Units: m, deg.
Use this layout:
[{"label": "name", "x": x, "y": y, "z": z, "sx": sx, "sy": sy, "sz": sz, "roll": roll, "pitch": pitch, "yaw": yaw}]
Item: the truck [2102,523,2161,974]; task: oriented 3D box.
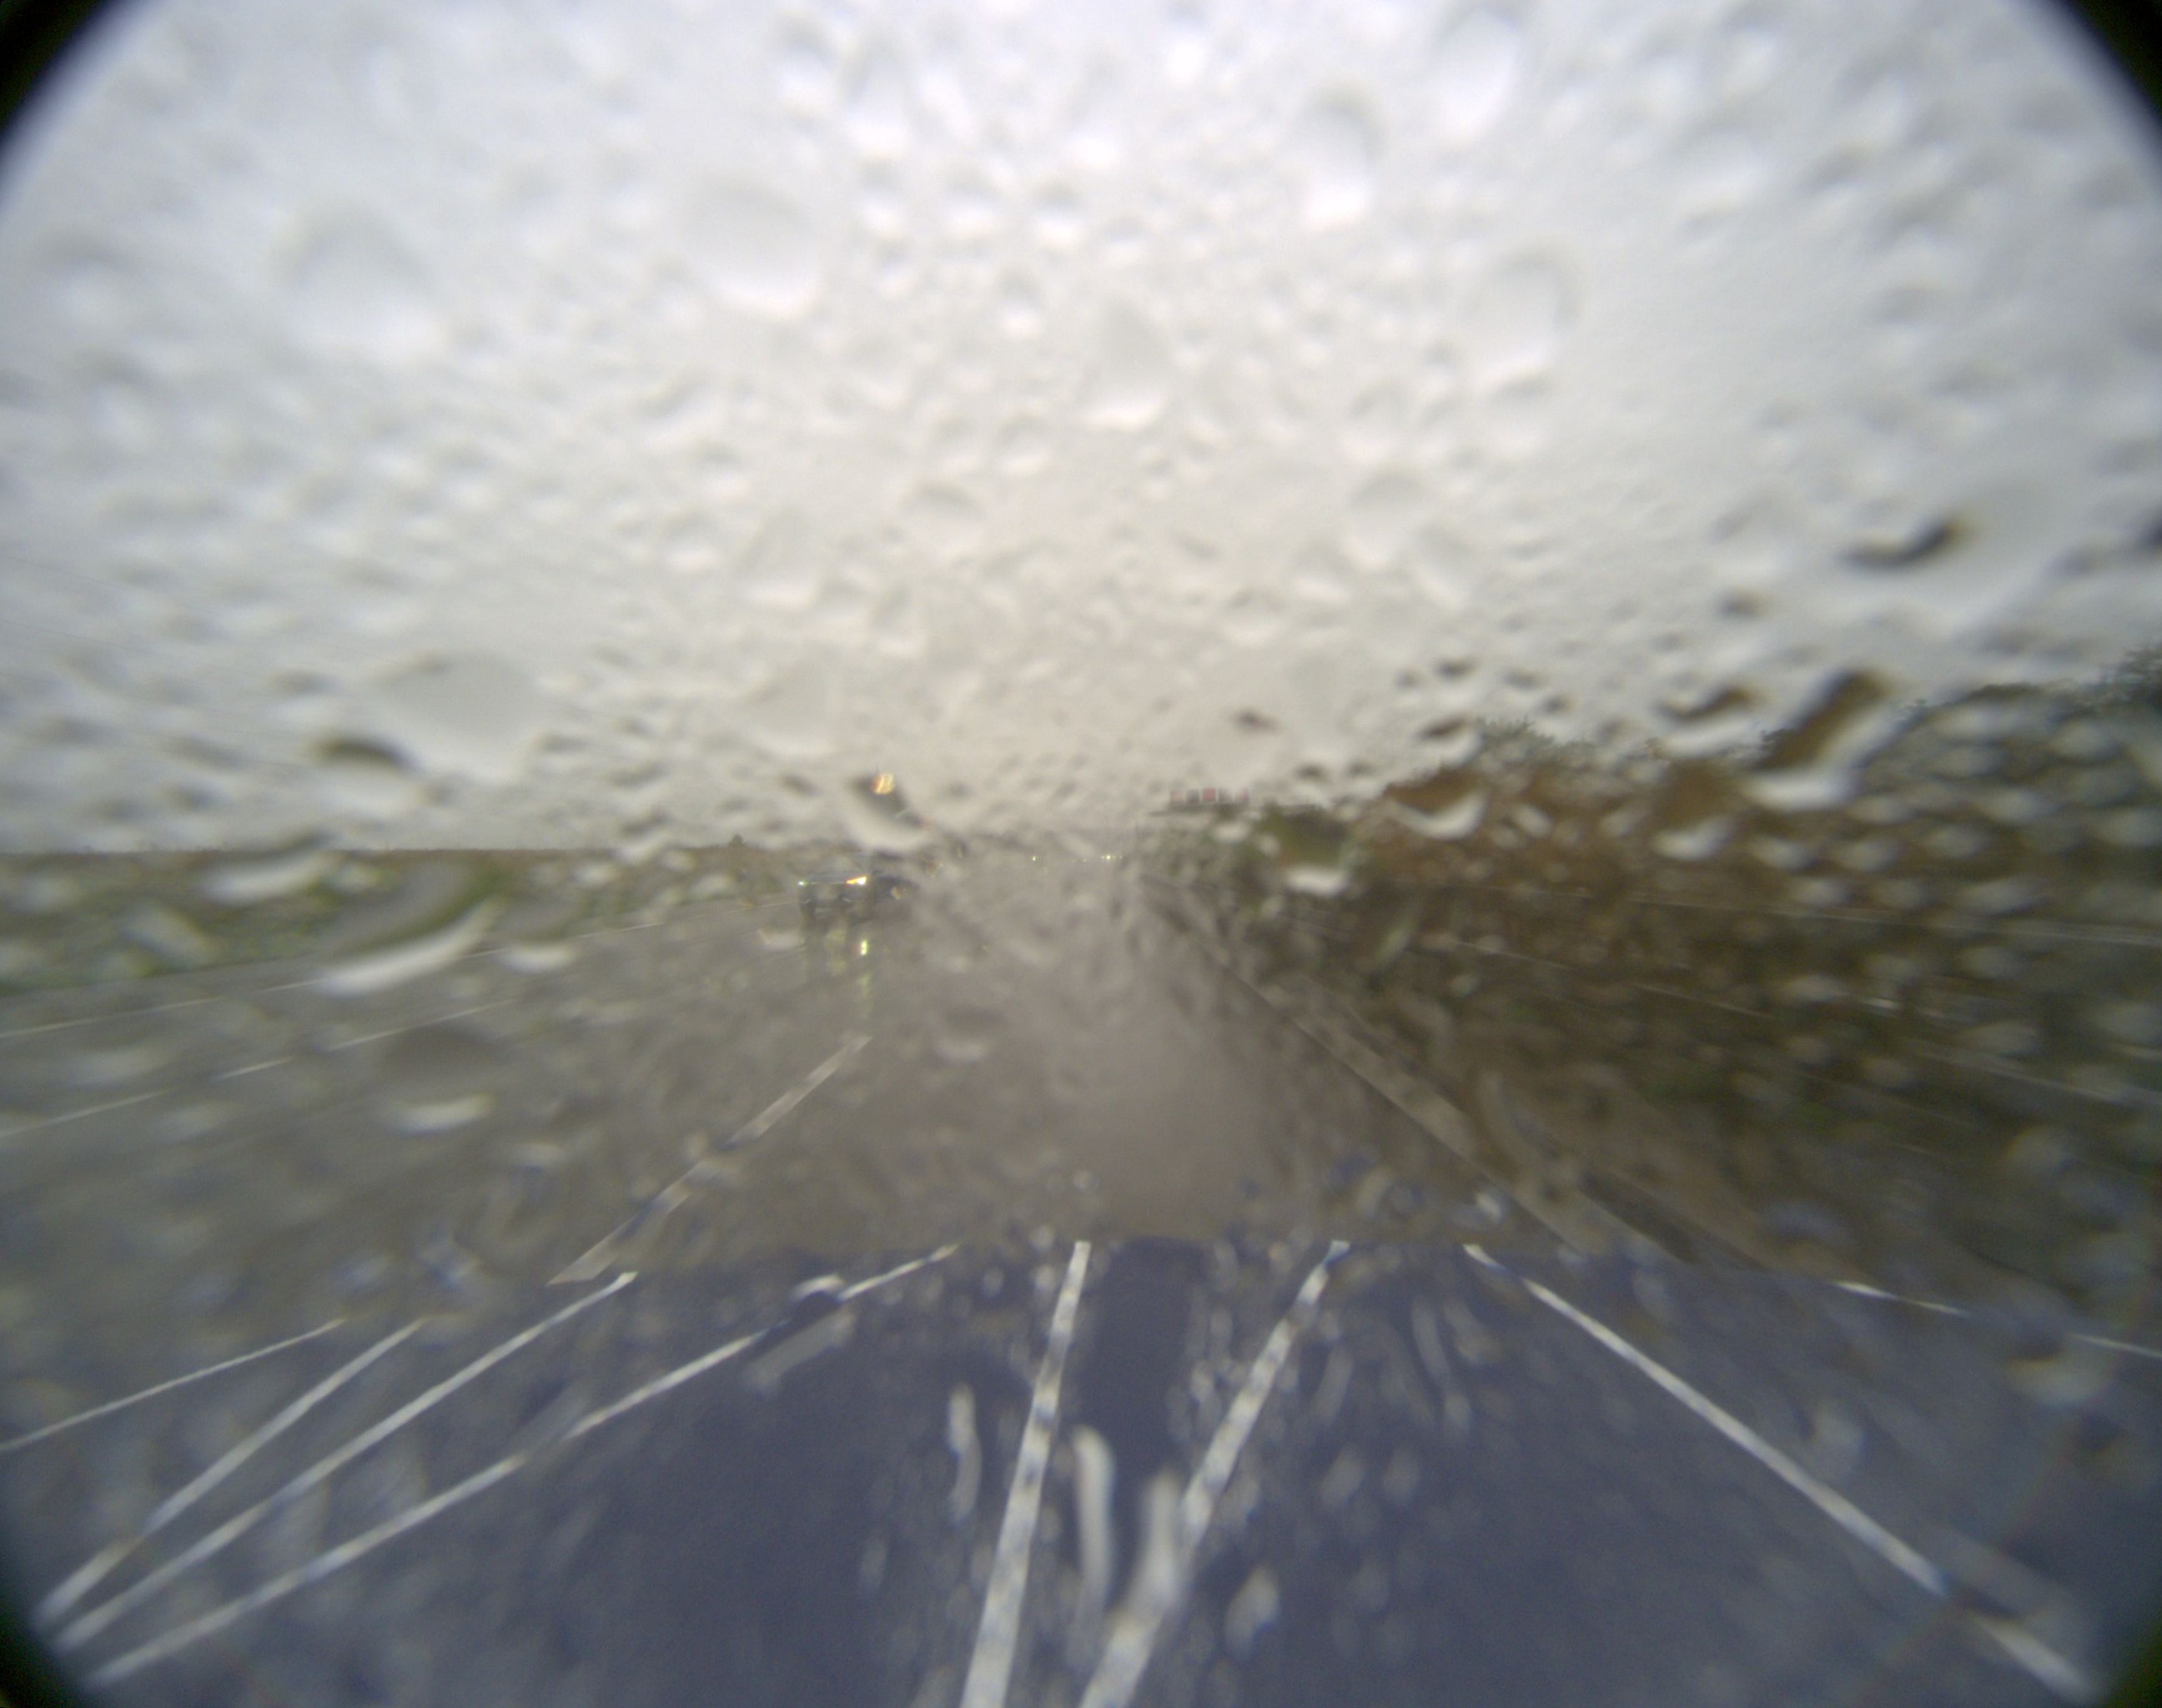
[{"label": "truck", "x": 11.844, "y": -0.991, "z": 4.402, "sx": 3.532, "sy": 4.217, "sz": 6.218, "roll": -1, "pitch": 1, "yaw": 1}]

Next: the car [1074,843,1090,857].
[{"label": "car", "x": 0.180, "y": -0.544, "z": 114.046, "sx": 1.997, "sy": 2.002, "sz": 4.002, "roll": -1, "pitch": 0, "yaw": 7}]

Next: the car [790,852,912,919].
[{"label": "car", "x": -6.359, "y": 0.791, "z": 21.678, "sx": 1.999, "sy": 1.610, "sz": 4.991, "roll": -1, "pitch": 1, "yaw": -1}]

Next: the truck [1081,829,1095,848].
[{"label": "truck", "x": 1.758, "y": -3.798, "z": 193.915, "sx": 3.135, "sy": 4.641, "sz": 11.405, "roll": -1, "pitch": 0, "yaw": 2}]

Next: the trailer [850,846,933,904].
[{"label": "trailer", "x": -6.352, "y": 0.652, "z": 25.788, "sx": 1.984, "sy": 1.775, "sz": 3.188, "roll": -1, "pitch": 1, "yaw": 0}]

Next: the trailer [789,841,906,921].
[{"label": "trailer", "x": -6.455, "y": 0.671, "z": 21.498, "sx": 1.999, "sy": 2.002, "sz": 3.999, "roll": -2, "pitch": 1, "yaw": 0}]

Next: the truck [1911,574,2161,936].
[{"label": "truck", "x": 16.701, "y": -1.395, "z": 4.626, "sx": 3.726, "sy": 5.014, "sz": 18.229, "roll": -1, "pitch": 0, "yaw": 1}]

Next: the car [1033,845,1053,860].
[{"label": "car", "x": -5.186, "y": -0.208, "z": 103.971, "sx": 1.998, "sy": 2.002, "sz": 4.002, "roll": -2, "pitch": 0, "yaw": 5}]
